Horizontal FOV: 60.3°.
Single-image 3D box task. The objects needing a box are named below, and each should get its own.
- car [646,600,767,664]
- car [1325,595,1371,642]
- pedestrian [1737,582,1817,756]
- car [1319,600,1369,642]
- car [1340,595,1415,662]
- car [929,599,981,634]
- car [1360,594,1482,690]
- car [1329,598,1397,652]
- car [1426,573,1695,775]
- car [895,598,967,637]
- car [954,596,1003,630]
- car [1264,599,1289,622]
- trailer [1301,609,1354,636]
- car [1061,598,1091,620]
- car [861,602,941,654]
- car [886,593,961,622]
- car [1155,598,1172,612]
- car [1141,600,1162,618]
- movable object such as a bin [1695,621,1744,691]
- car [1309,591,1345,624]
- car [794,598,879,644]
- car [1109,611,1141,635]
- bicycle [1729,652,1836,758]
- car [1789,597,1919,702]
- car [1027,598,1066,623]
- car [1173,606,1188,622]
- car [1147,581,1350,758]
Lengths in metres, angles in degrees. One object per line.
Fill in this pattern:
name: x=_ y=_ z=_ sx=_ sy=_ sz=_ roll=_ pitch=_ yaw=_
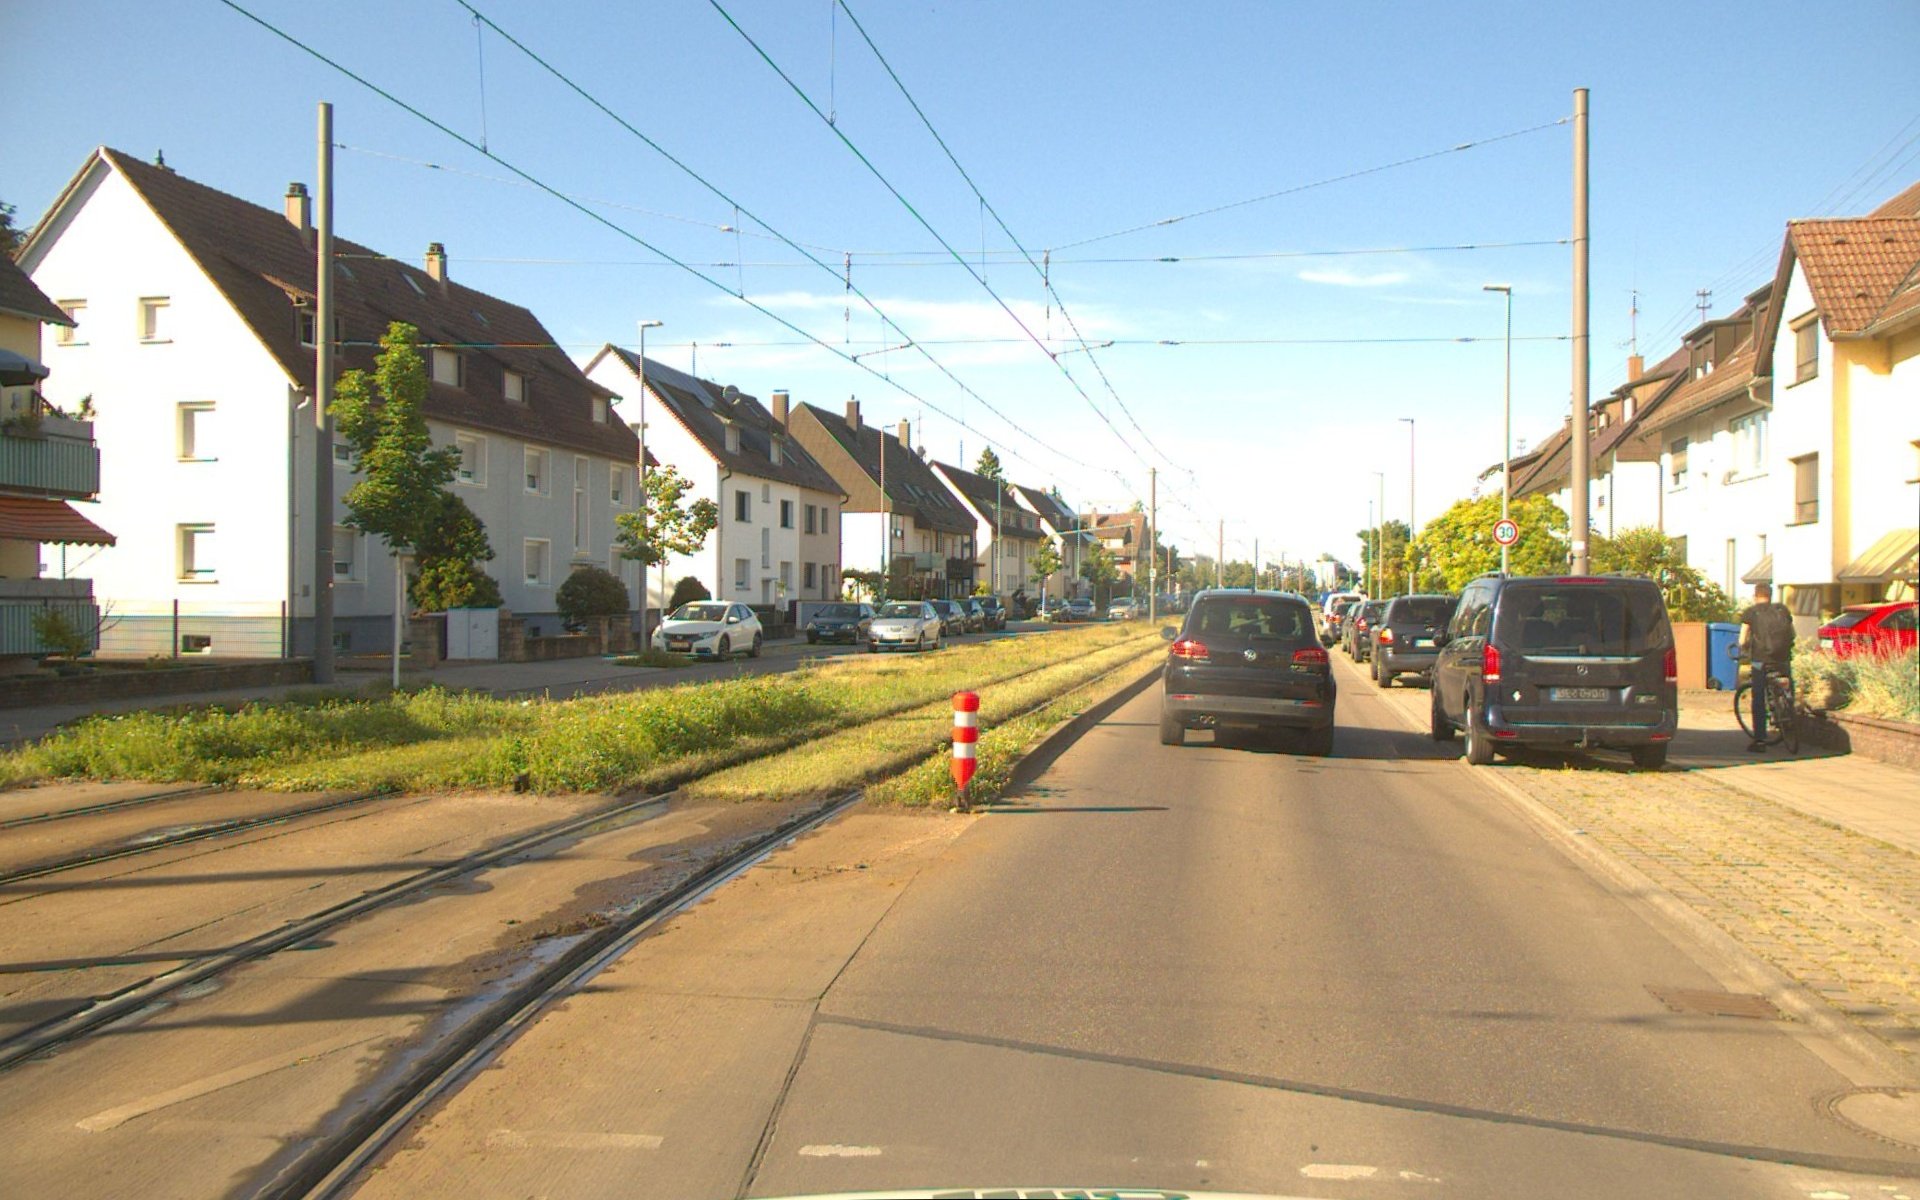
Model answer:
car: x=-6.335 y=0.762 z=41.721 sx=1.656 sy=1.544 sz=4.218 roll=0 pitch=0 yaw=12
car: x=15.398 y=0.688 z=65.715 sx=1.653 sy=1.808 sz=4.659 roll=0 pitch=0 yaw=12
pedestrian: x=8.432 y=0.692 z=17.087 sx=0.570 sy=1.753 sz=0.715 roll=0 pitch=0 yaw=12
car: x=13.914 y=0.761 z=60.115 sx=1.635 sy=1.478 sz=4.129 roll=0 pitch=0 yaw=11
car: x=10.555 y=0.684 z=42.004 sx=1.630 sy=1.574 sz=3.838 roll=-2 pitch=0 yaw=12
car: x=-0.185 y=0.702 z=74.703 sx=1.488 sy=1.501 sz=4.204 roll=0 pitch=0 yaw=12
car: x=8.680 y=0.730 z=31.453 sx=1.814 sy=1.688 sz=4.477 roll=0 pitch=0 yaw=10
car: x=11.723 y=0.700 z=48.344 sx=1.581 sy=1.501 sz=4.453 roll=0 pitch=0 yaw=9
car: x=6.280 y=0.683 z=17.873 sx=1.920 sy=1.868 sz=4.931 roll=0 pitch=0 yaw=10
car: x=-1.165 y=0.720 z=69.557 sx=1.837 sy=1.549 sz=4.884 roll=1 pitch=0 yaw=14
car: x=0.921 y=0.602 z=80.118 sx=1.764 sy=1.625 sz=4.816 roll=0 pitch=0 yaw=8
car: x=20.148 y=0.657 z=105.201 sx=1.539 sy=1.415 sz=3.617 roll=0 pitch=0 yaw=11
trailer: x=16.807 y=1.022 z=75.803 sx=2.157 sy=1.113 sz=4.375 roll=-1 pitch=0 yaw=10
car: x=7.986 y=0.631 z=113.596 sx=1.584 sy=1.434 sz=3.720 roll=0 pitch=-2 yaw=12
car: x=-1.684 y=0.794 z=48.307 sx=1.516 sy=1.436 sz=3.662 roll=0 pitch=0 yaw=12
car: x=-2.077 y=0.437 z=94.856 sx=4.076 sy=1.645 sz=1.761 roll=0 pitch=0 yaw=7
car: x=20.057 y=0.460 z=163.120 sx=1.483 sy=1.385 sz=3.593 roll=0 pitch=0 yaw=11
car: x=18.266 y=0.838 z=157.979 sx=1.624 sy=1.609 sz=4.003 roll=0 pitch=-2 yaw=12
movable object such as a bin: x=12.400 y=0.911 z=27.006 sx=0.654 sy=1.134 sz=0.318 roll=-1 pitch=-1 yaw=11
car: x=21.782 y=0.443 z=98.308 sx=1.951 sy=1.894 sz=4.921 roll=0 pitch=0 yaw=11
car: x=-4.062 y=0.669 z=55.242 sx=1.752 sy=1.488 sz=4.170 roll=0 pitch=0 yaw=12
car: x=10.745 y=1.515 z=107.448 sx=1.671 sy=1.517 sz=4.027 roll=0 pitch=-2 yaw=12
bicycle: x=8.414 y=1.055 z=16.973 sx=0.588 sy=0.997 sz=1.563 roll=-2 pitch=-1 yaw=12
car: x=14.836 y=0.711 z=24.633 sx=4.076 sy=1.493 sz=1.902 roll=0 pitch=1 yaw=10
car: x=5.321 y=0.639 z=101.116 sx=1.584 sy=1.478 sz=3.720 roll=0 pitch=0 yaw=16
car: x=24.023 y=1.511 z=180.064 sx=1.433 sy=1.706 sz=3.290 roll=0 pitch=-1 yaw=11
car: x=3.117 y=0.701 z=18.623 sx=1.774 sy=1.700 sz=4.260 roll=2 pitch=0 yaw=4
